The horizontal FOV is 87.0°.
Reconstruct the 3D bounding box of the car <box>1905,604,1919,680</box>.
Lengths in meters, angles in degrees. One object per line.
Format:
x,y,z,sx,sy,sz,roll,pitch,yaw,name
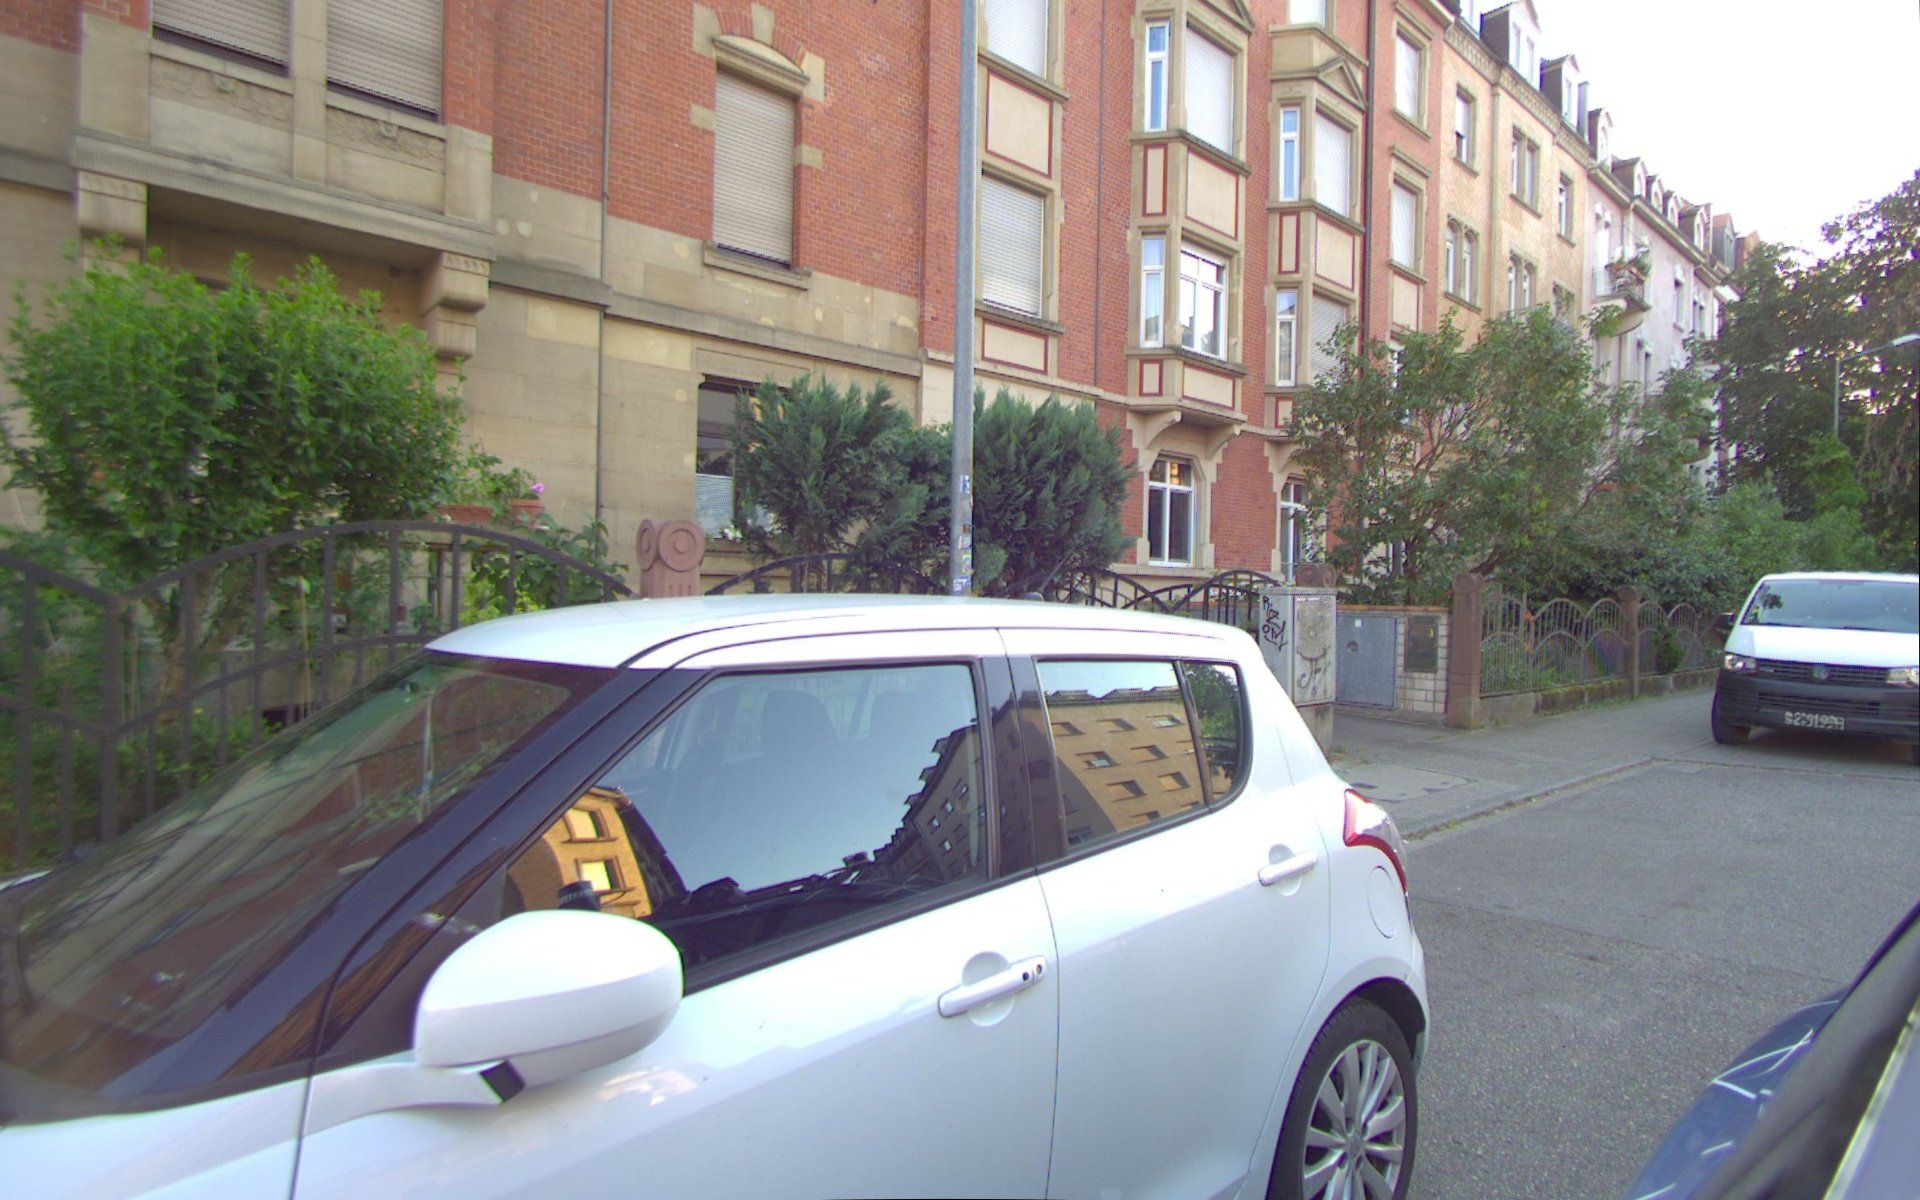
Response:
22.694,0.901,22.549,4.755,1.602,1.760,0,-1,-39,car

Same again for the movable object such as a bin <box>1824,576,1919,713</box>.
14.245,0.637,15.313,2.285,1.901,1.414,0,2,-42,movable object such as a bin

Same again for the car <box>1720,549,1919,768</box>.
10.763,0.542,11.913,5.450,2.064,1.865,0,2,-43,car

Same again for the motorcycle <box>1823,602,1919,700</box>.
15.697,0.843,16.534,2.066,1.500,1.128,3,2,16,motorcycle

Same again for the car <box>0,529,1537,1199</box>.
-0.514,0.688,2.071,3.791,1.496,1.678,0,0,-39,car

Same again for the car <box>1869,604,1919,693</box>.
18.787,0.880,19.176,4.247,1.571,1.724,0,0,-39,car
